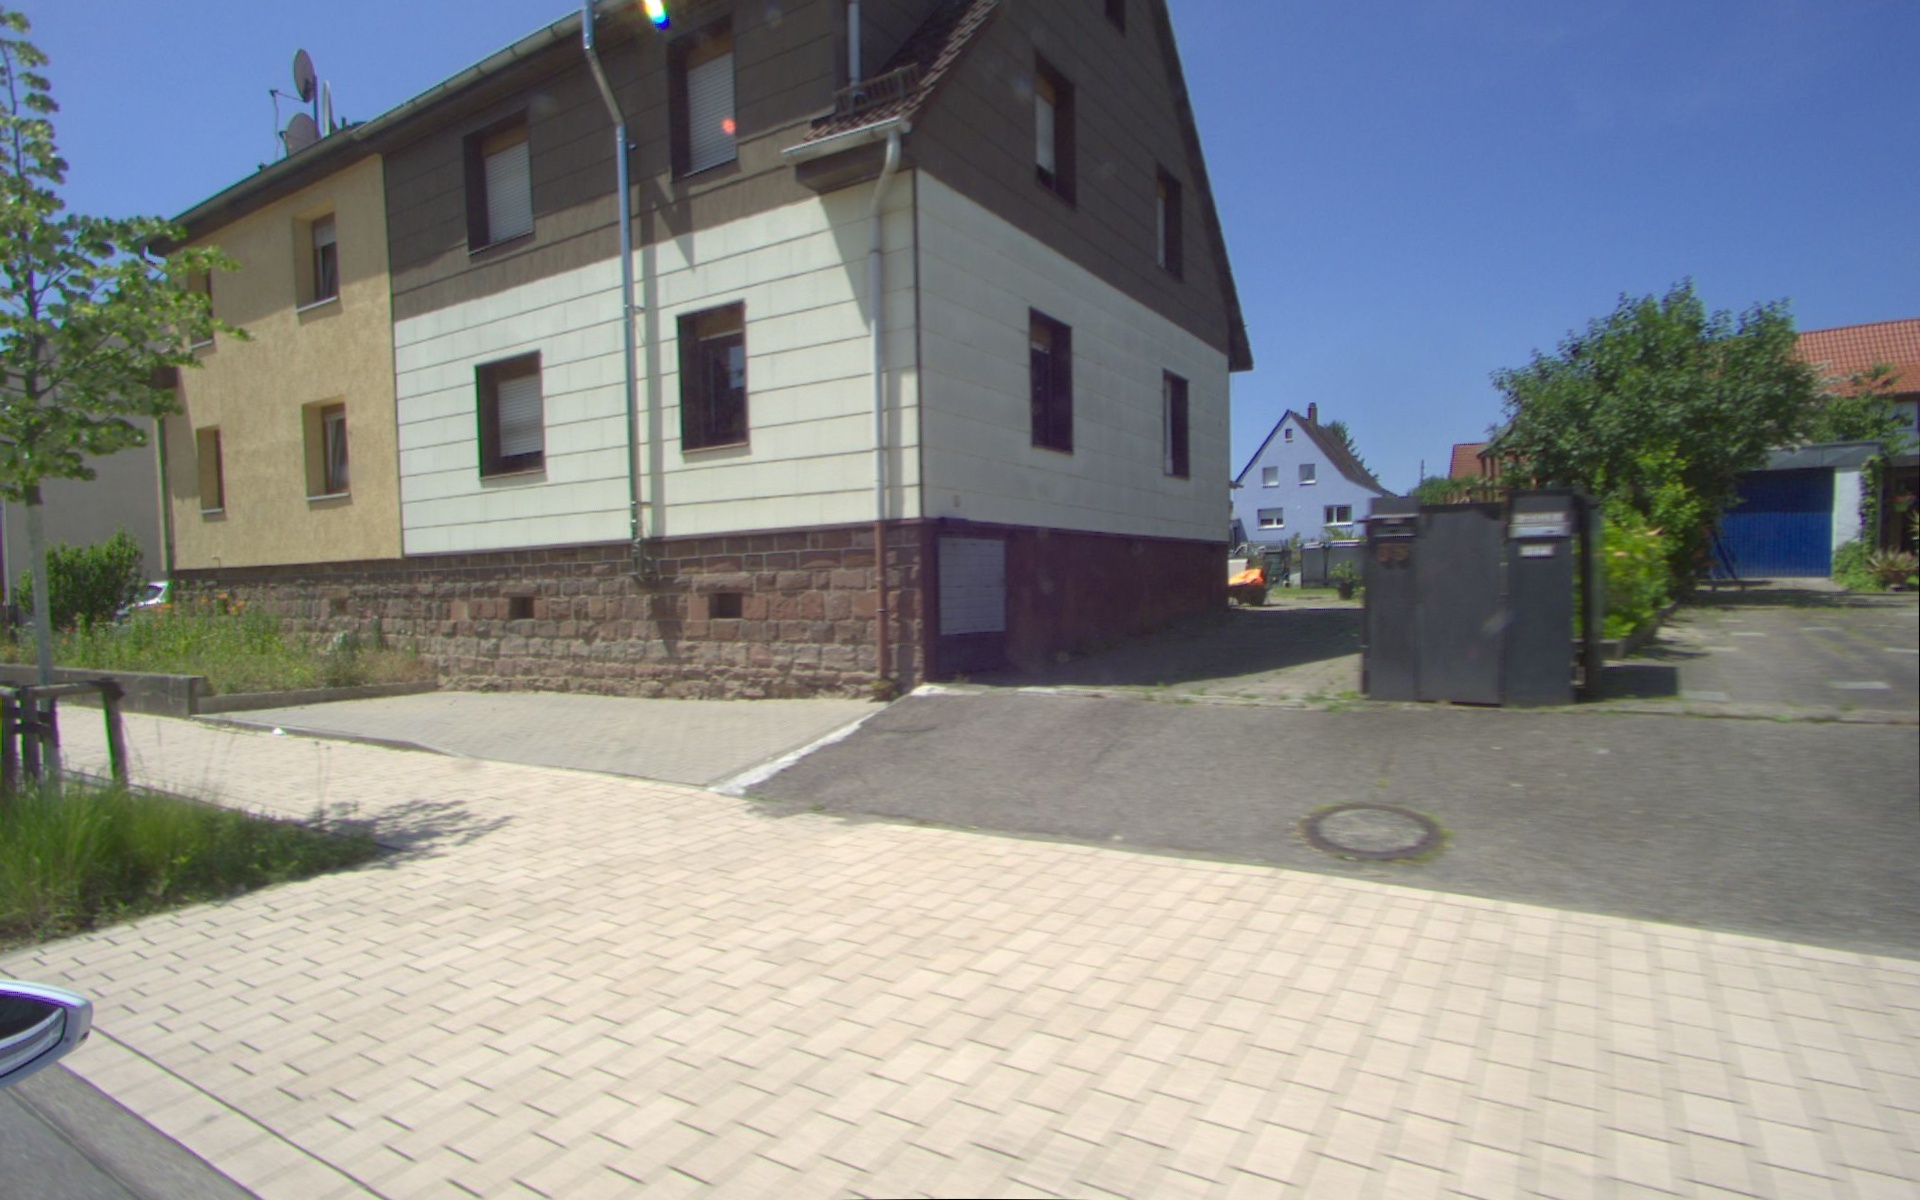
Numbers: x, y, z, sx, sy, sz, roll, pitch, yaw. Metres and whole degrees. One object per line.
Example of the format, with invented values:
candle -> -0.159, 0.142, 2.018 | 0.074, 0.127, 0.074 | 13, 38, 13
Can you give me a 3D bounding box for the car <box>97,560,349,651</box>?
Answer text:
car -> -16.071, 0.049, 22.057 | 1.846, 1.700, 3.977 | -1, 4, 31
